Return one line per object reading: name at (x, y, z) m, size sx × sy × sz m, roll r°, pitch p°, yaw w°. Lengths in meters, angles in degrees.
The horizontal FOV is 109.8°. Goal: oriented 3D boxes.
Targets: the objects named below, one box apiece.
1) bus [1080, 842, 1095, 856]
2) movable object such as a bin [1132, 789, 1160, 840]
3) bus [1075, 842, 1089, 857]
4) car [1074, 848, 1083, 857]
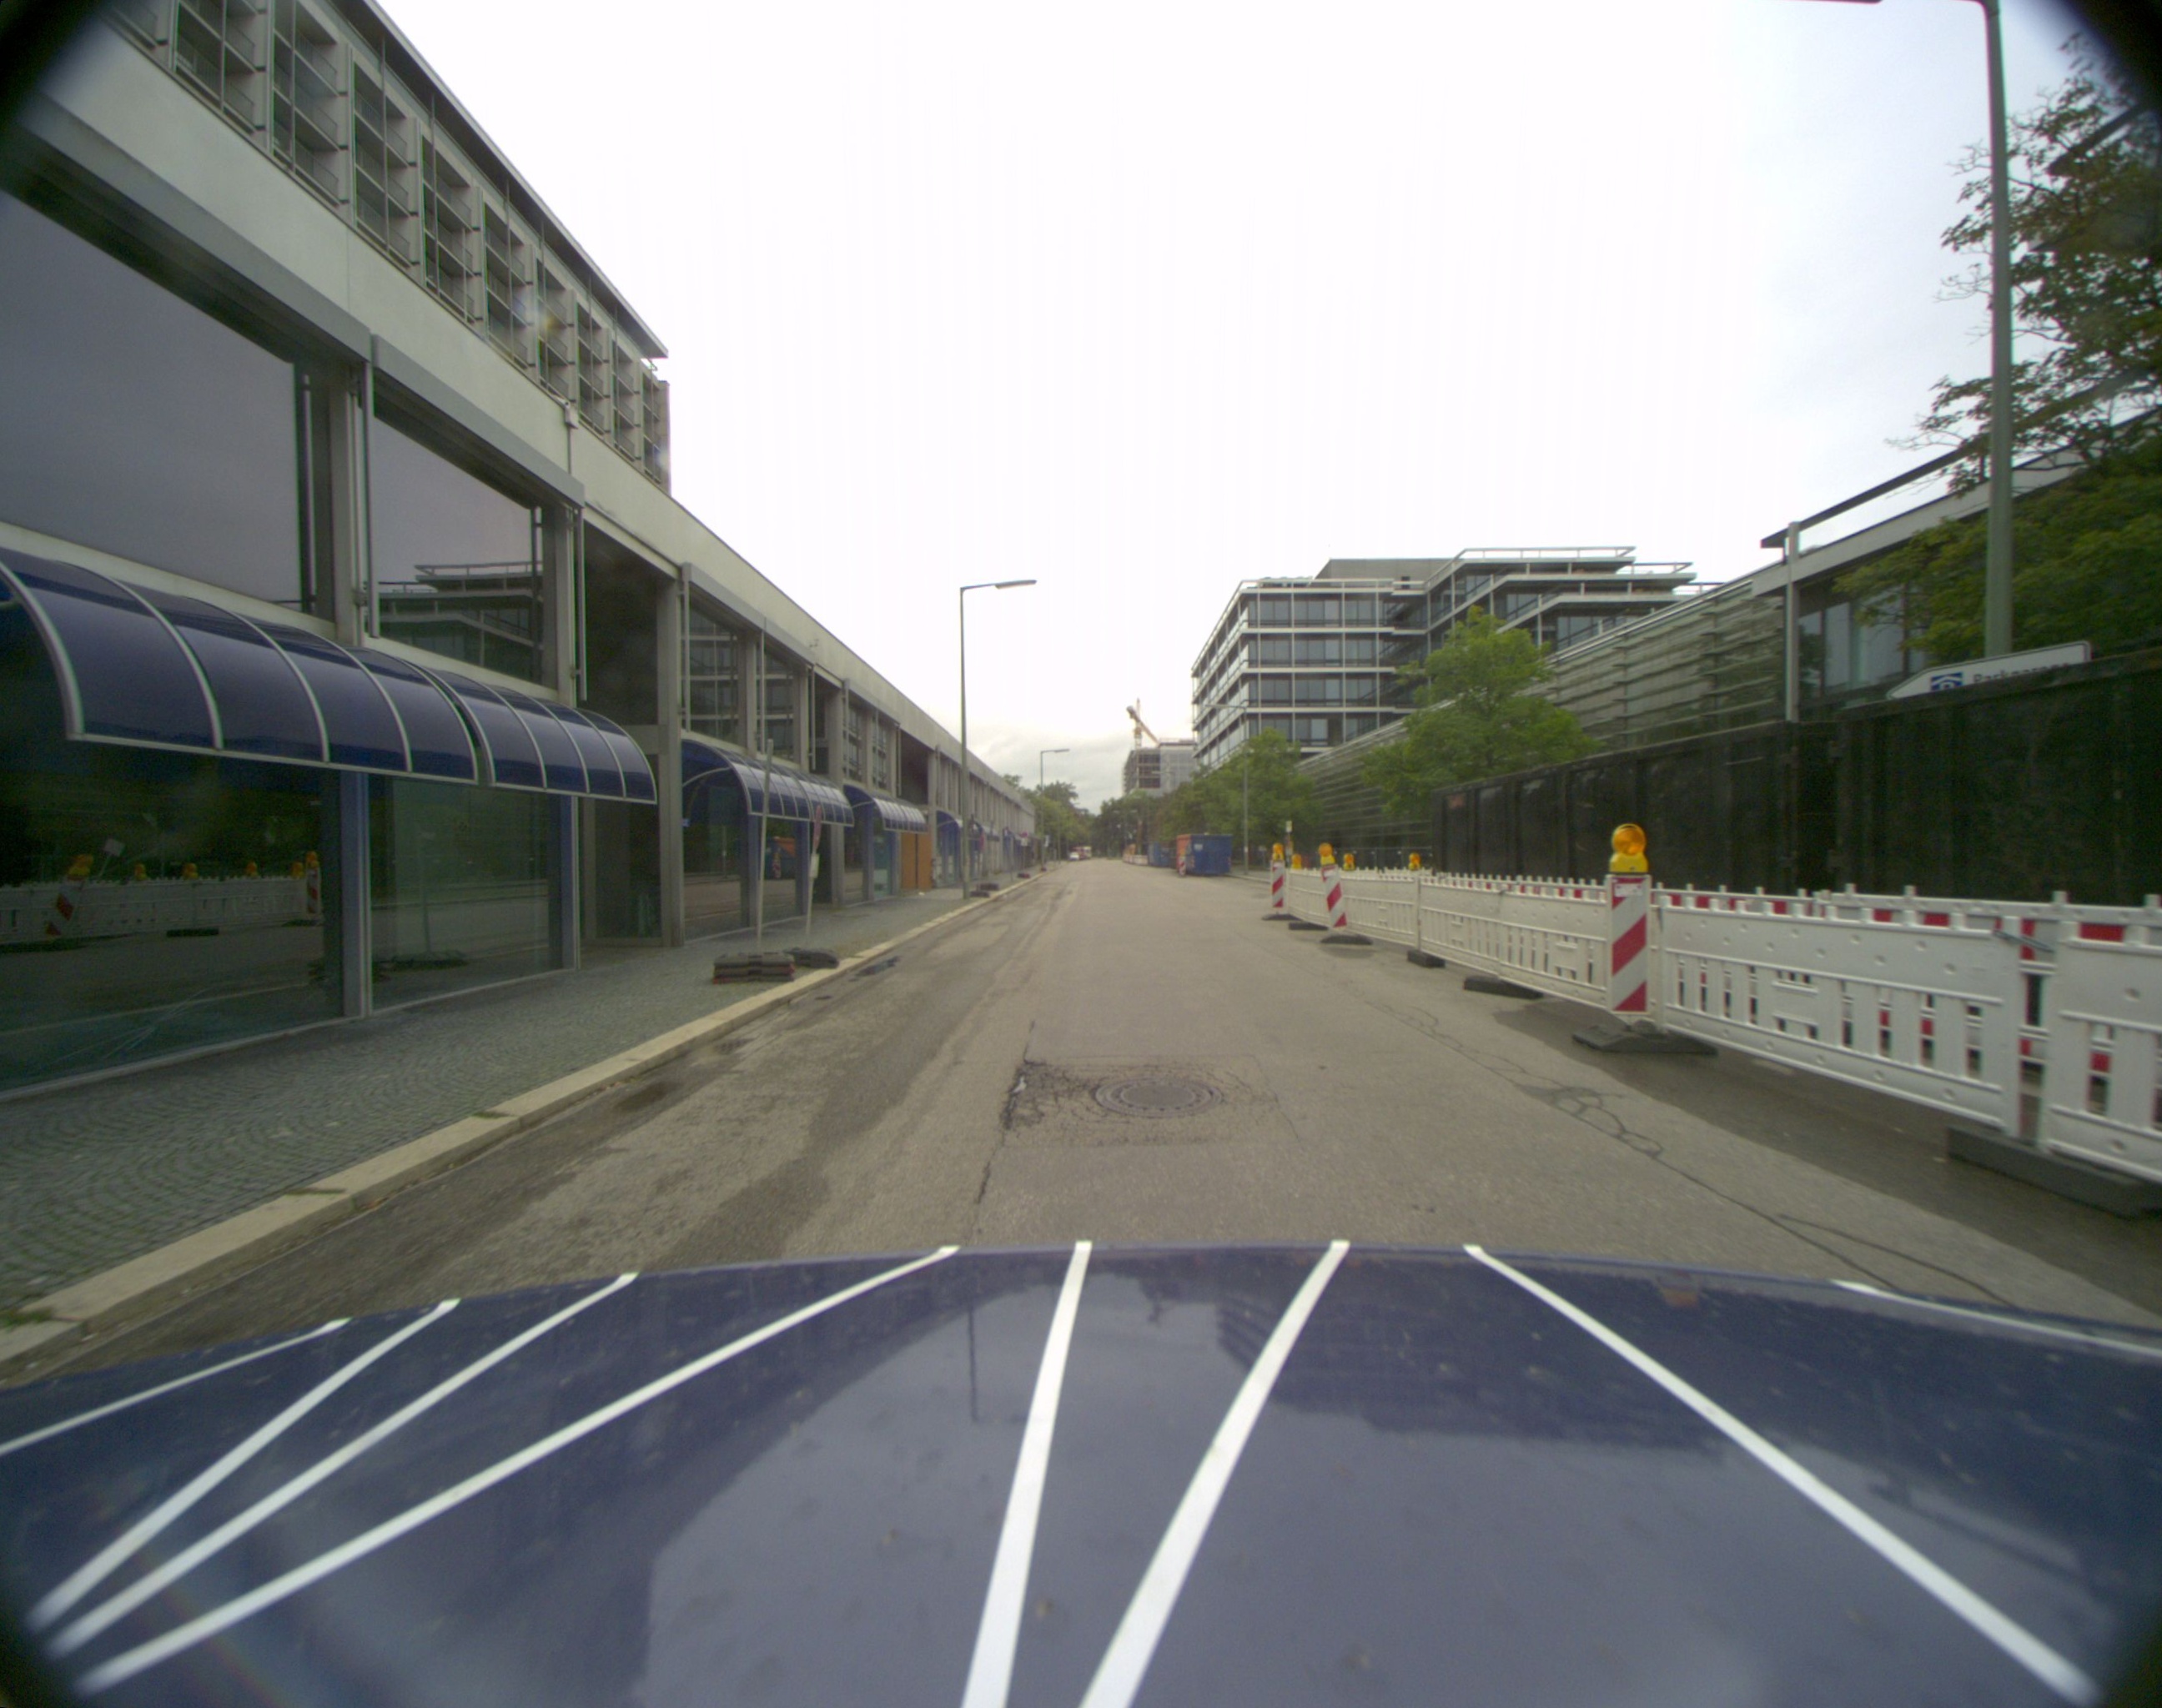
bus at (1.369, -1.047, 159.466) m, size 2.076 × 2.714 × 5.871 m, roll 0°, pitch 1°, yaw 10°
movable object such as a bin at (8.872, -5.284, 104.227) m, size 2.911 × 6.527 × 11.782 m, roll 0°, pitch 1°, yaw 0°
bus at (0.286, -0.872, 145.534) m, size 2.077 × 2.789 × 6.274 m, roll 0°, pitch 1°, yaw 6°
car at (-0.511, -0.236, 138.220) m, size 1.536 × 1.483 × 4.059 m, roll 0°, pitch 1°, yaw -1°
